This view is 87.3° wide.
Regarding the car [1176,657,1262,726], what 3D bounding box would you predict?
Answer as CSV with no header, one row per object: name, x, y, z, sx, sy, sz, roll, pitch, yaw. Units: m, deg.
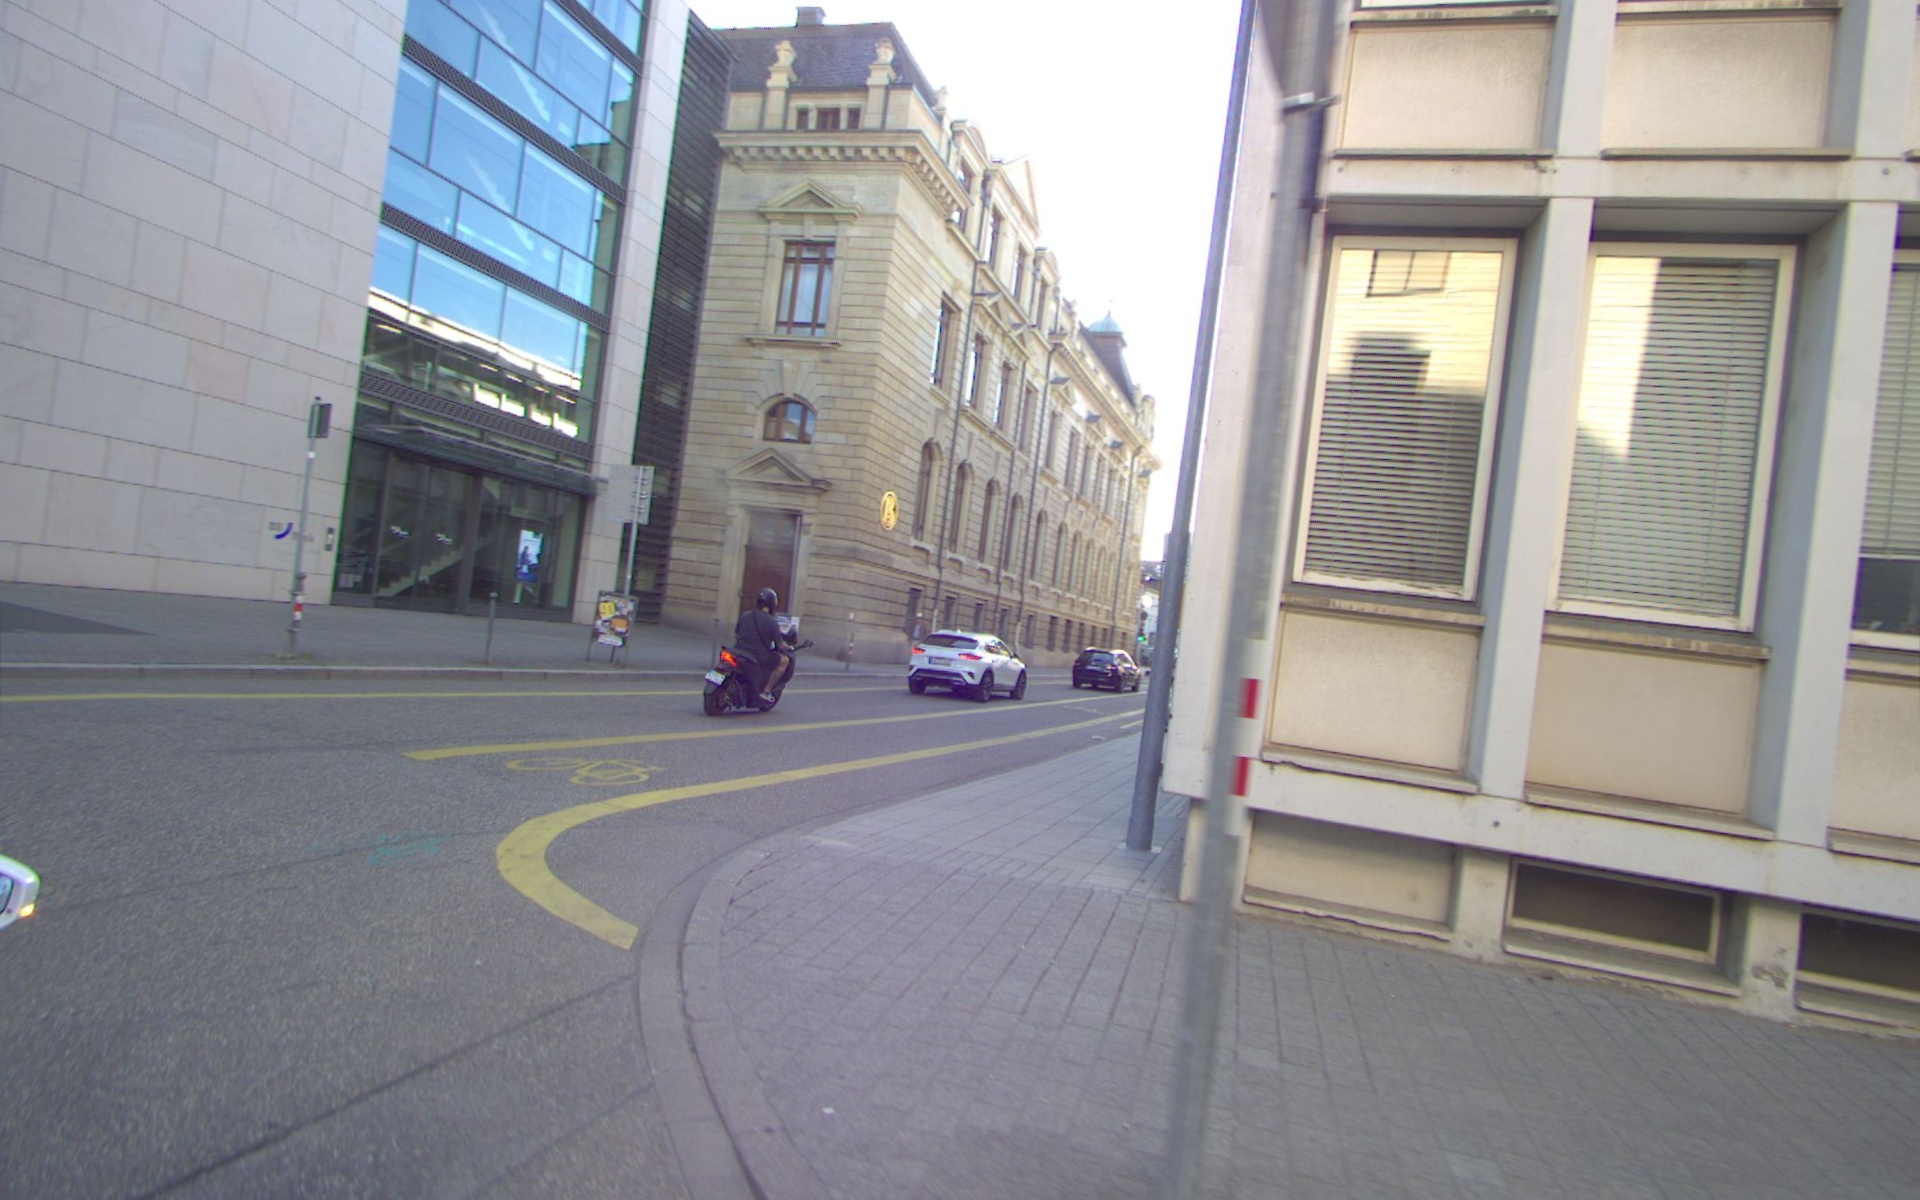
car,7.198,2.446,27.679,1.755,1.497,4.290,8,0,19

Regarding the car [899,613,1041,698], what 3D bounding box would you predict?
car,0.350,1.334,23.488,1.794,1.559,4.266,8,-1,21

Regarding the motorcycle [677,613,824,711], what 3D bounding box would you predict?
motorcycle,-2.718,0.844,13.265,0.860,1.122,1.840,6,-2,25

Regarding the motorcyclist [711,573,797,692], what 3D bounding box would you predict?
motorcyclist,-2.705,0.424,13.211,0.854,1.443,0.455,6,-1,27

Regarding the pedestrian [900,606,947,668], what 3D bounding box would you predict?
pedestrian,-1.169,1.206,32.386,0.829,1.820,1.074,11,0,23

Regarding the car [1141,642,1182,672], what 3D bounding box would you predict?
car,13.846,3.913,69.374,1.962,1.685,4.358,4,0,2
